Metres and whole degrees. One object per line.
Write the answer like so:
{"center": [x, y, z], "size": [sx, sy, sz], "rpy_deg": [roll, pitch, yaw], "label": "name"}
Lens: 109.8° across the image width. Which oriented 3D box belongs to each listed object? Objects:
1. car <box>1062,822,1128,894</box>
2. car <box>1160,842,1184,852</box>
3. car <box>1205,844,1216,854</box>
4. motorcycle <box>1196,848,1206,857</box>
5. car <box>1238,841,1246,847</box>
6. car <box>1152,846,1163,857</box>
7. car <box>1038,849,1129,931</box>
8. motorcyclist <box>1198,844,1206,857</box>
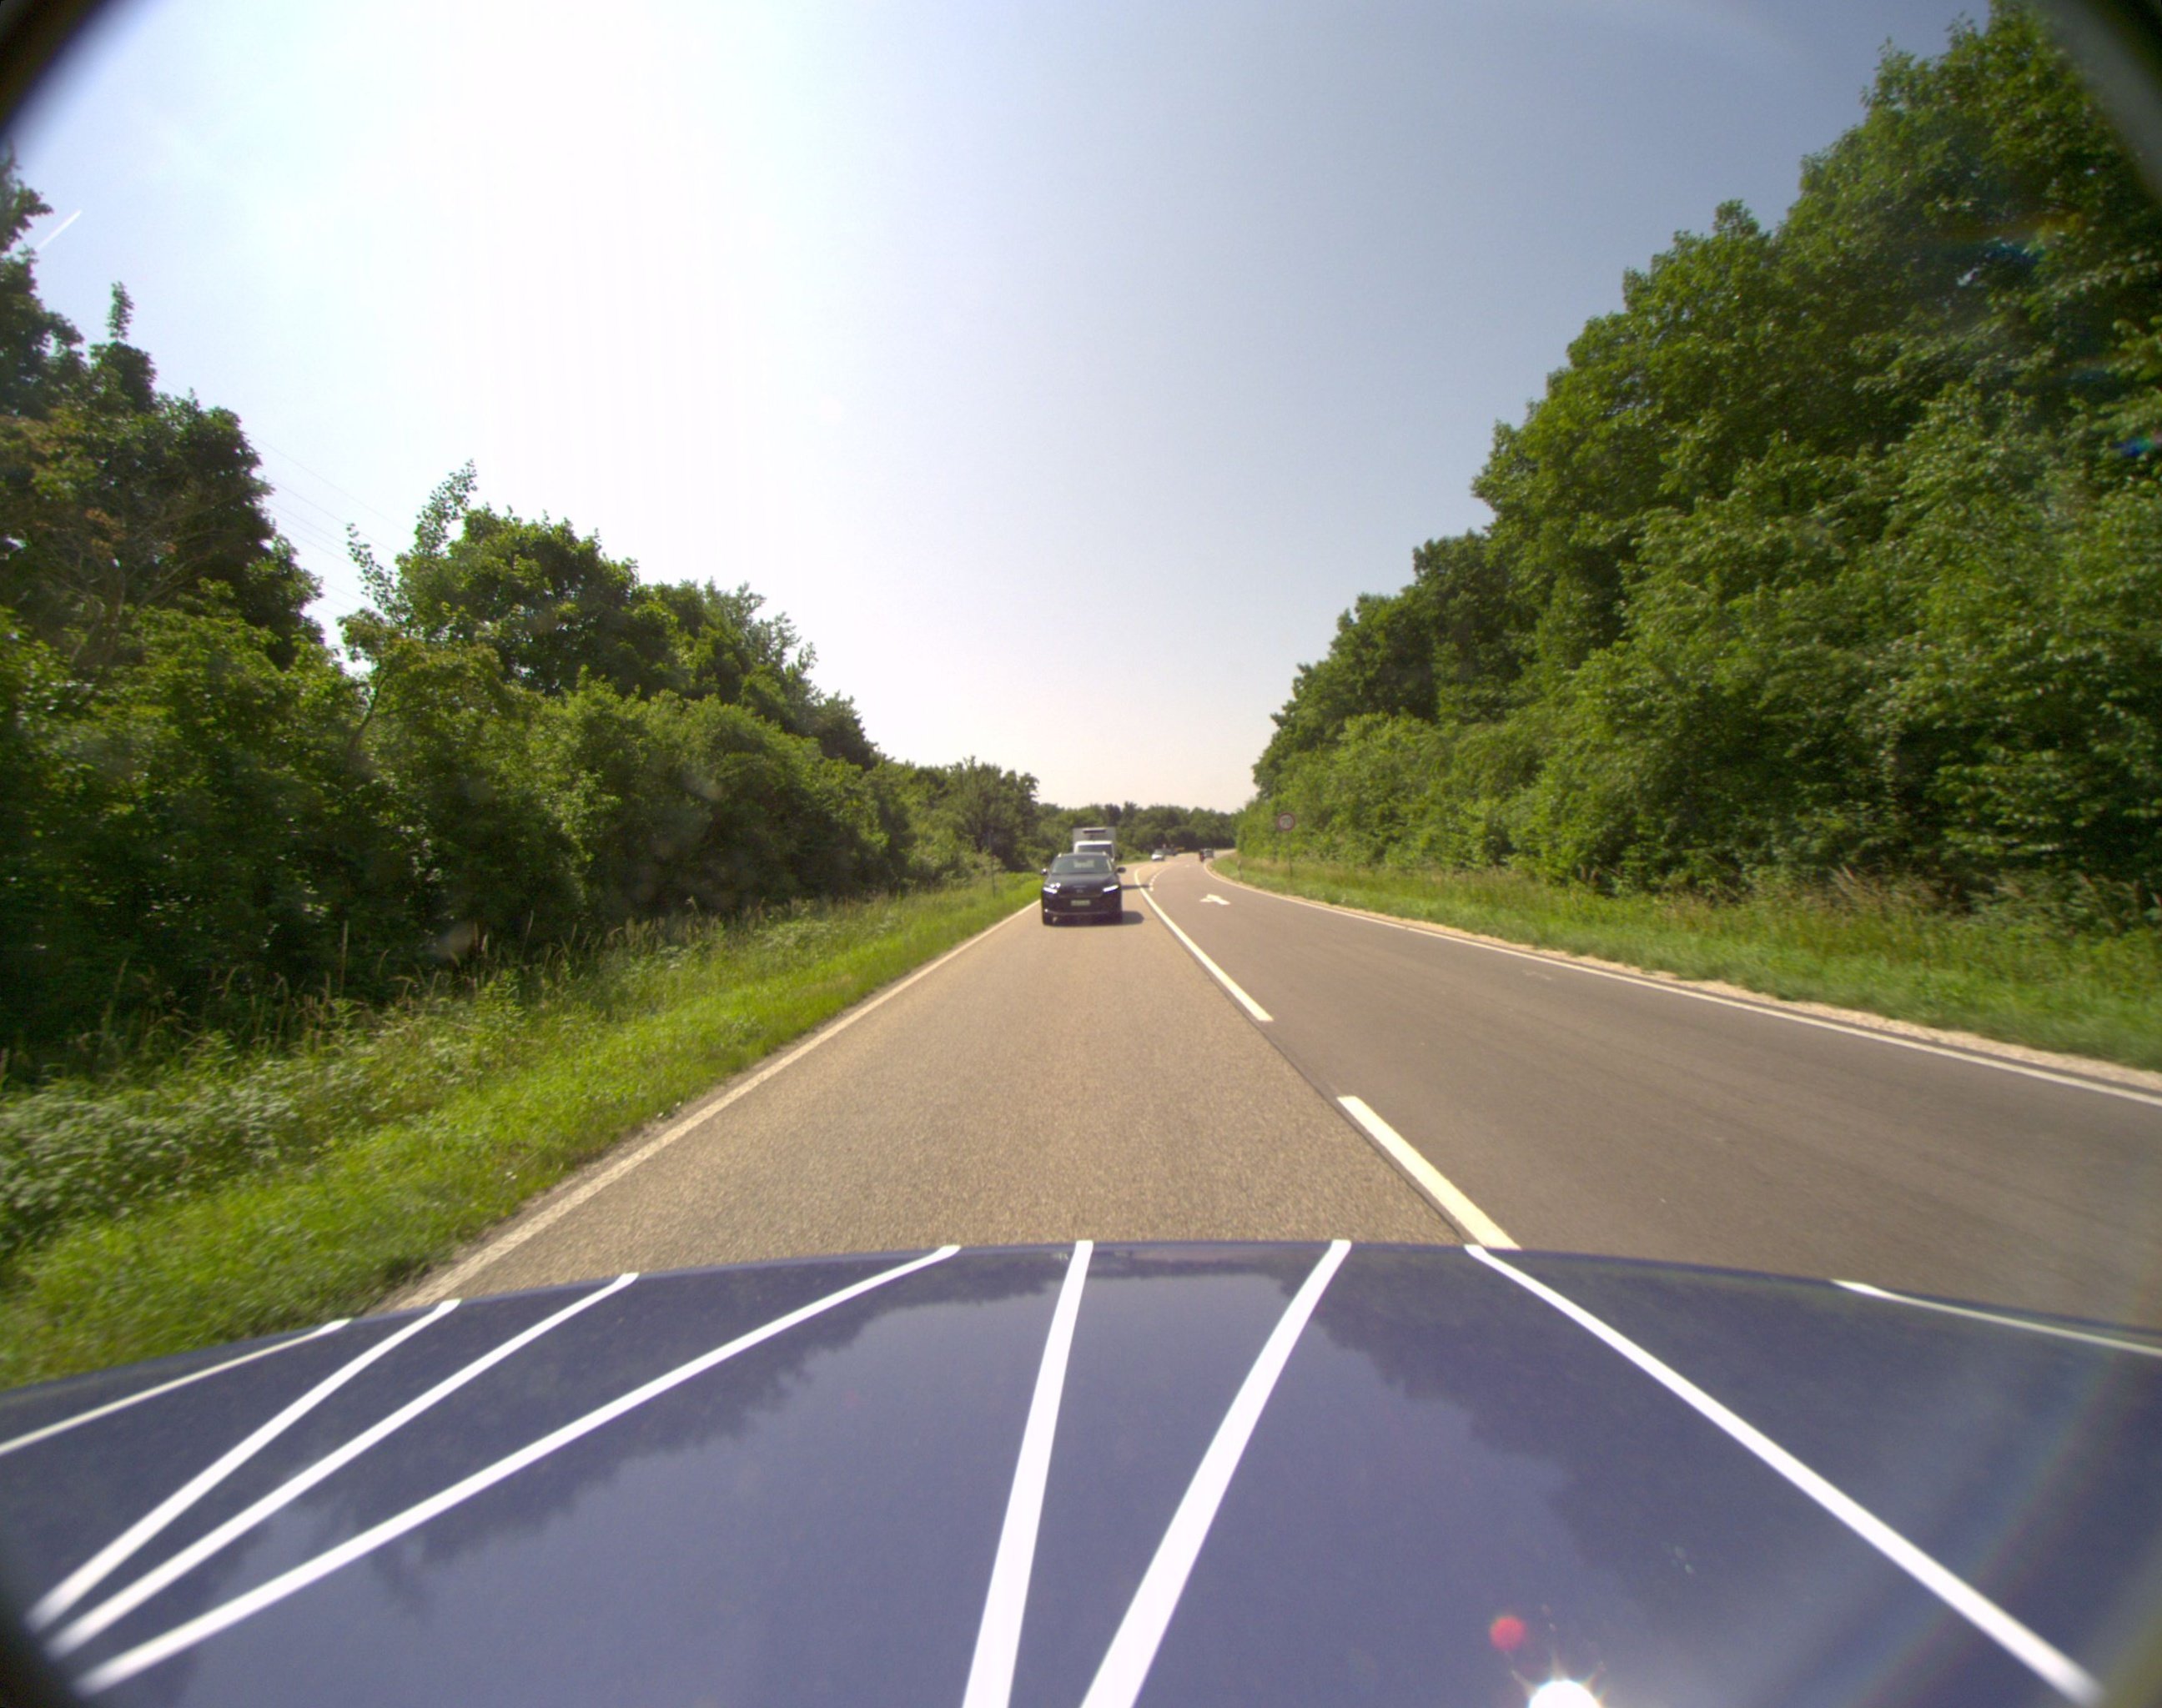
{"center": [0.813, 0.099, 36.717], "size": [2.591, 3.047, 6.882], "rpy_deg": [-3, 1, 5], "label": "car"}
{"center": [21.246, -1.637, 177.355], "size": [5.227, 1.896, 2.013], "rpy_deg": [-4, 2, -2], "label": "car"}
{"center": [23.859, -0.910, 140.067], "size": [1.806, 1.627, 4.213], "rpy_deg": [-2, 1, 5], "label": "car"}
{"center": [16.199, -0.207, 102.701], "size": [0.949, 1.243, 2.682], "rpy_deg": [-2, 0, 2], "label": "motorcycle"}
{"center": [43.534, -2.636, 205.450], "size": [1.805, 1.627, 4.216], "rpy_deg": [-2, 0, 16], "label": "car"}
{"center": [13.024, -0.423, 129.163], "size": [1.808, 1.797, 4.001], "rpy_deg": [-2, 0, 5], "label": "car"}
{"center": [0.105, 0.797, 19.664], "size": [1.924, 1.711, 5.479], "rpy_deg": [-3, 0, 1], "label": "car"}
{"center": [16.260, -0.469, 102.061], "size": [0.832, 1.742, 0.623], "rpy_deg": [-3, 1, 2], "label": "motorcyclist"}
